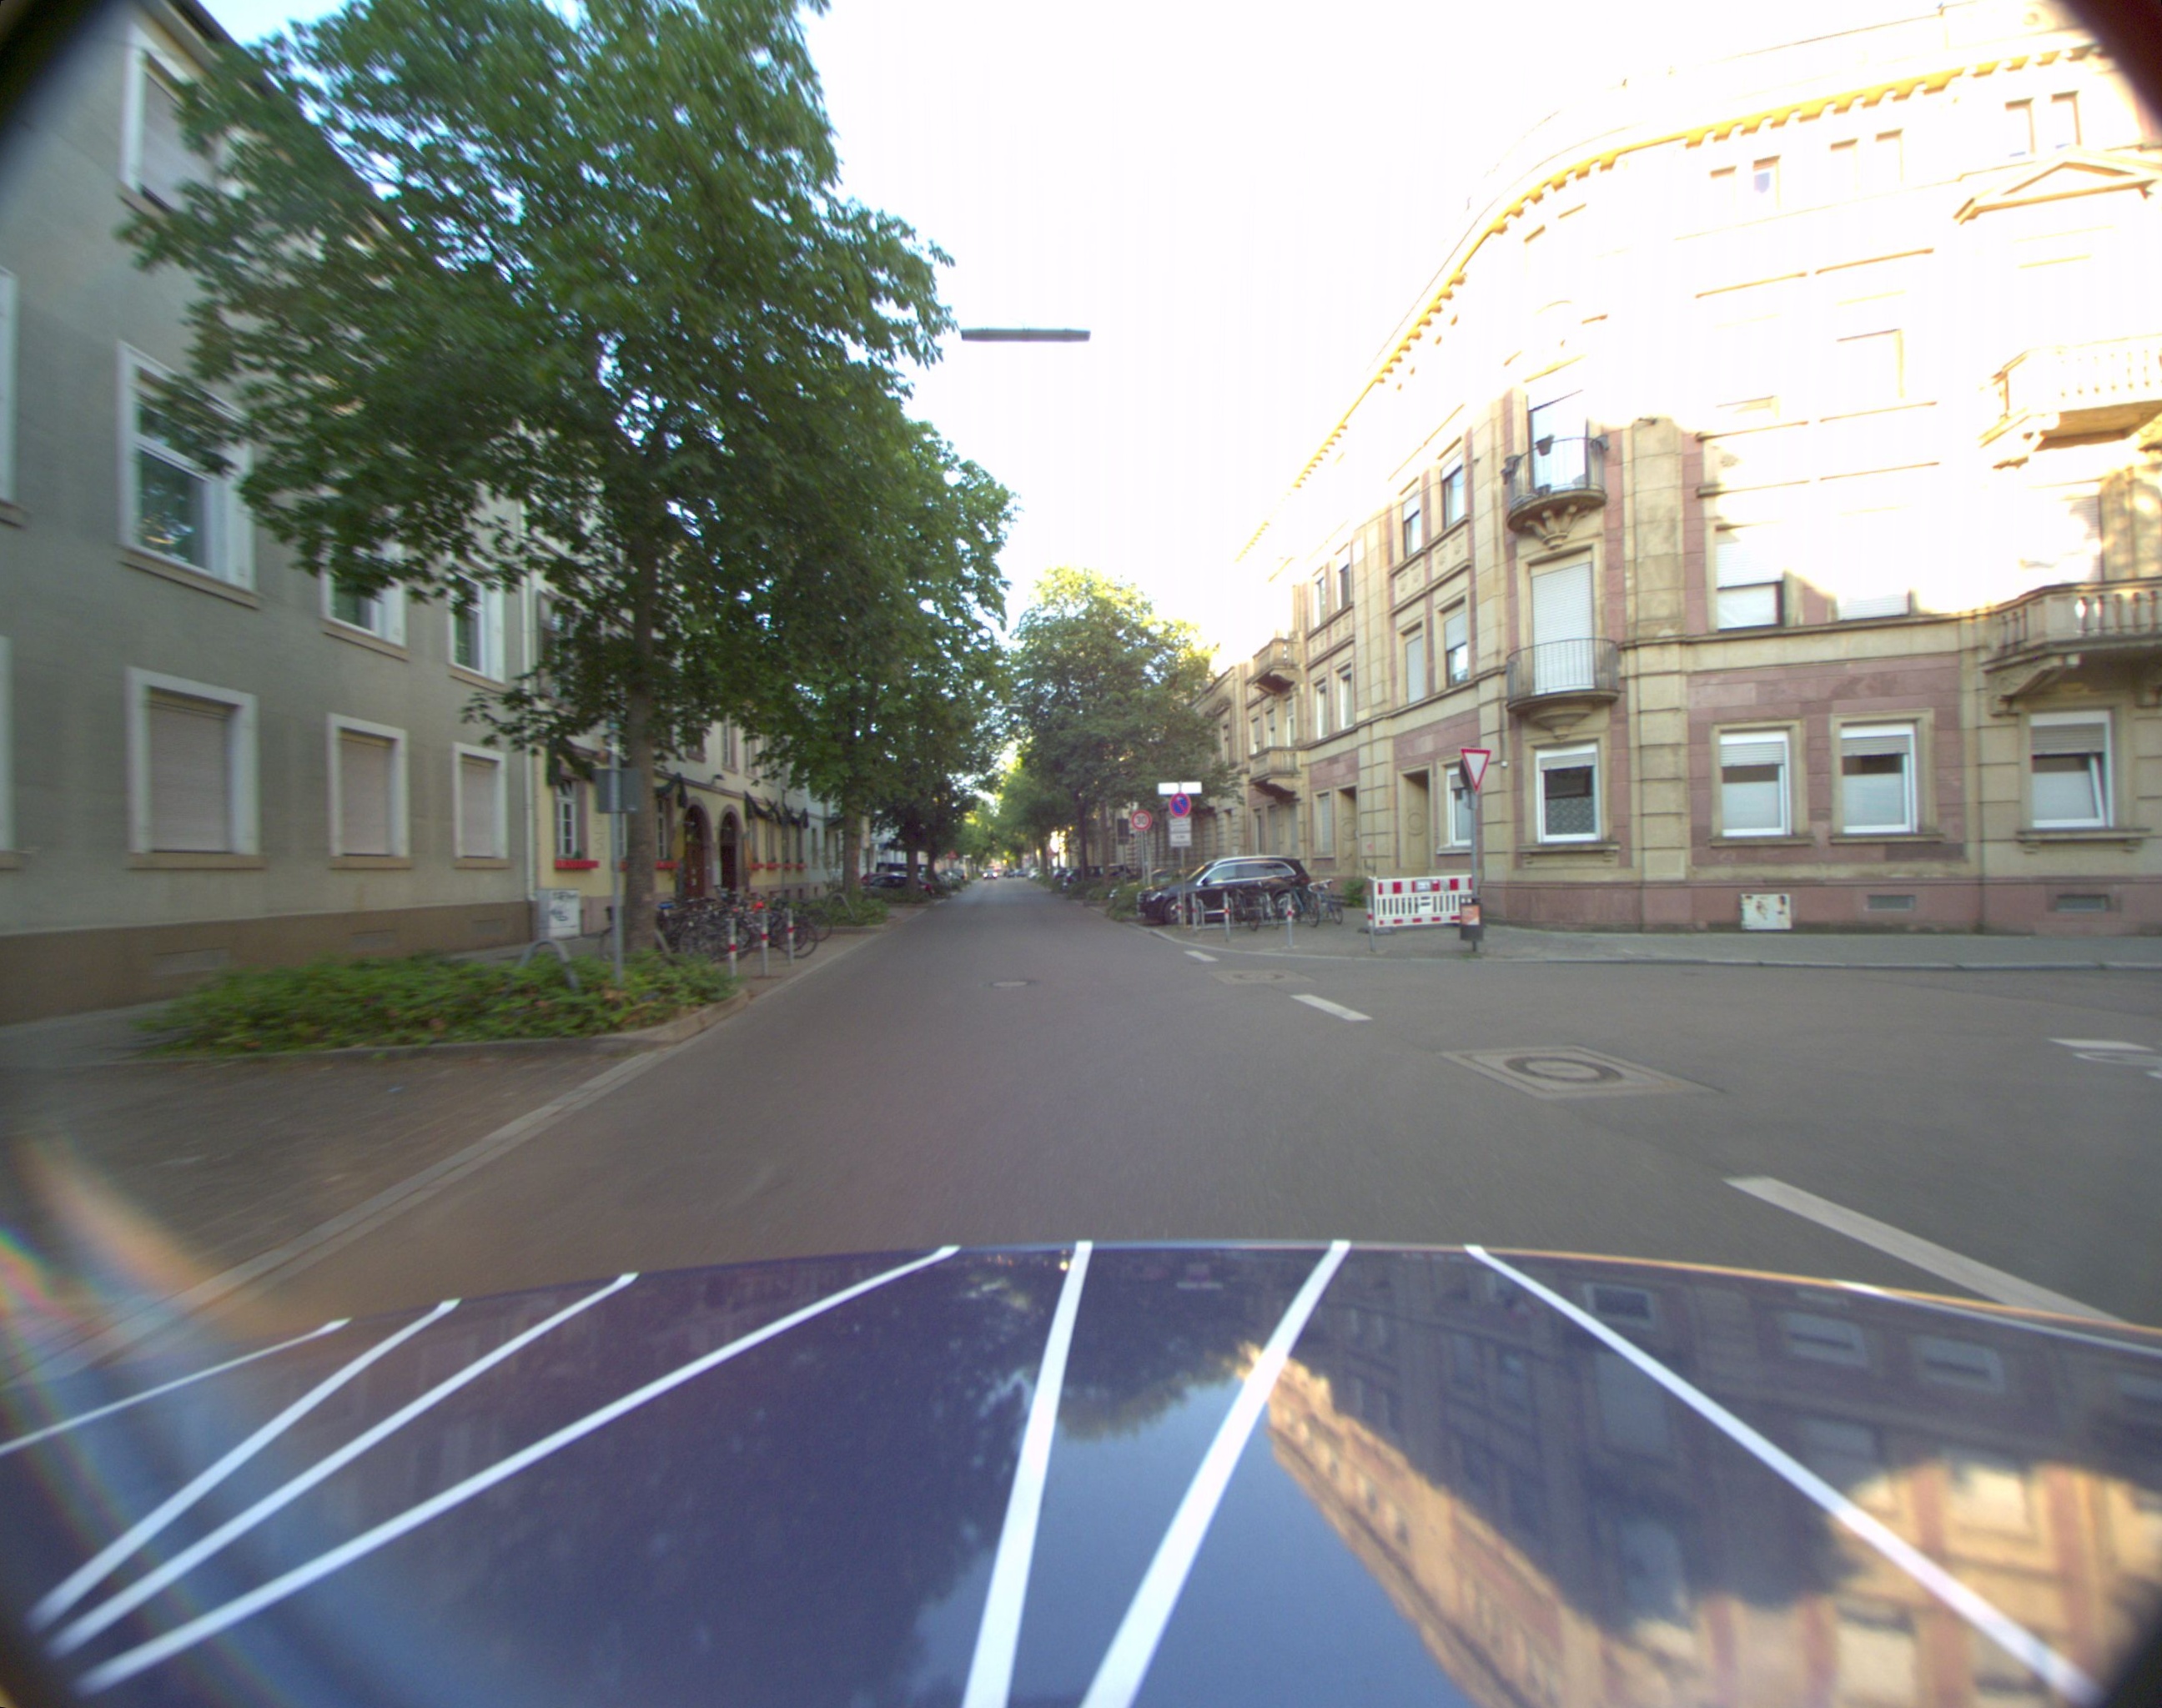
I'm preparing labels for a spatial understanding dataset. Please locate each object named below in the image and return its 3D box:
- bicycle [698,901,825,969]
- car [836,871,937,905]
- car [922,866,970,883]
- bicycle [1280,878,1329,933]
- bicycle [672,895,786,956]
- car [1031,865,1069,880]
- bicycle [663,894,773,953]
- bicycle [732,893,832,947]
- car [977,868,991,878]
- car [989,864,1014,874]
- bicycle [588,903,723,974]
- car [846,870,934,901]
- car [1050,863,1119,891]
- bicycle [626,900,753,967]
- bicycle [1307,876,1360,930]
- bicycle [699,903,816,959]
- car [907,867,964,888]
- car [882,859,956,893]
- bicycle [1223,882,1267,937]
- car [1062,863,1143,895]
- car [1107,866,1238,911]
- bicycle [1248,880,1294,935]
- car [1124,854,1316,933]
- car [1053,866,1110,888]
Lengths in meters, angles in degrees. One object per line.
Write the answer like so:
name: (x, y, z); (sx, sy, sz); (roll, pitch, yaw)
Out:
bicycle: (-5.735, 1.445, 13.705); (2.041, 1.139, 0.446); (-1, 0, -5)
car: (-9.389, 1.641, 36.944); (4.444, 1.496, 1.776); (-1, -1, -5)
car: (-13.387, 2.063, 75.572); (4.444, 1.603, 1.776); (-1, -1, -5)
bicycle: (5.007, 1.123, 17.133); (0.364, 1.083, 1.869); (-3, 1, -5)
bicycle: (-7.079, 1.426, 15.345); (2.042, 1.139, 0.421); (-1, 0, -7)
car: (-3.646, 2.141, 89.113); (4.444, 1.638, 1.776); (-1, -1, -5)
bicycle: (-7.587, 1.448, 15.931); (2.042, 1.139, 0.421); (-1, 0, -7)
bicycle: (-6.698, 1.474, 17.087); (2.042, 1.139, 0.421); (-1, 0, -7)
car: (-14.086, 2.690, 110.465); (1.828, 1.364, 3.998); (-1, -1, -6)
car: (-12.549, 2.330, 120.251); (1.772, 1.523, 4.029); (-2, -1, 34)
bicycle: (-7.333, 1.448, 13.141); (2.041, 1.139, 0.446); (-1, 0, -2)
car: (-10.592, 1.729, 42.377); (4.444, 1.603, 1.776); (-1, -1, -5)
car: (0.203, 1.513, 50.712); (4.444, 1.728, 1.776); (-1, -1, -5)
bicycle: (-7.187, 1.445, 14.007); (2.042, 1.139, 0.421); (-1, 0, -7)
bicycle: (5.685, 1.079, 17.207); (0.364, 1.083, 1.869); (-3, 1, -5)
bicycle: (-6.295, 1.488, 14.844); (2.042, 0.998, 0.421); (-1, 0, -7)
car: (-11.911, 1.934, 62.341); (4.444, 1.603, 1.776); (-1, -1, -5)
car: (-10.500, 1.427, 49.399); (4.444, 2.110, 1.776); (-1, -1, -5)
bicycle: (3.638, 1.202, 16.986); (0.364, 1.083, 1.869); (-3, 1, -5)
car: (1.189, 1.430, 43.754); (4.444, 1.728, 1.776); (-1, -1, -5)
car: (3.268, 1.231, 27.695); (4.444, 1.478, 1.776); (-1, -1, -5)
bicycle: (4.243, 1.165, 17.096); (0.364, 1.083, 1.869); (-3, 1, -5)
car: (3.576, 0.986, 19.971); (4.590, 1.728, 1.776); (-3, 1, -5)
car: (0.005, 1.691, 56.414); (4.032, 1.473, 1.776); (-1, -1, -5)
